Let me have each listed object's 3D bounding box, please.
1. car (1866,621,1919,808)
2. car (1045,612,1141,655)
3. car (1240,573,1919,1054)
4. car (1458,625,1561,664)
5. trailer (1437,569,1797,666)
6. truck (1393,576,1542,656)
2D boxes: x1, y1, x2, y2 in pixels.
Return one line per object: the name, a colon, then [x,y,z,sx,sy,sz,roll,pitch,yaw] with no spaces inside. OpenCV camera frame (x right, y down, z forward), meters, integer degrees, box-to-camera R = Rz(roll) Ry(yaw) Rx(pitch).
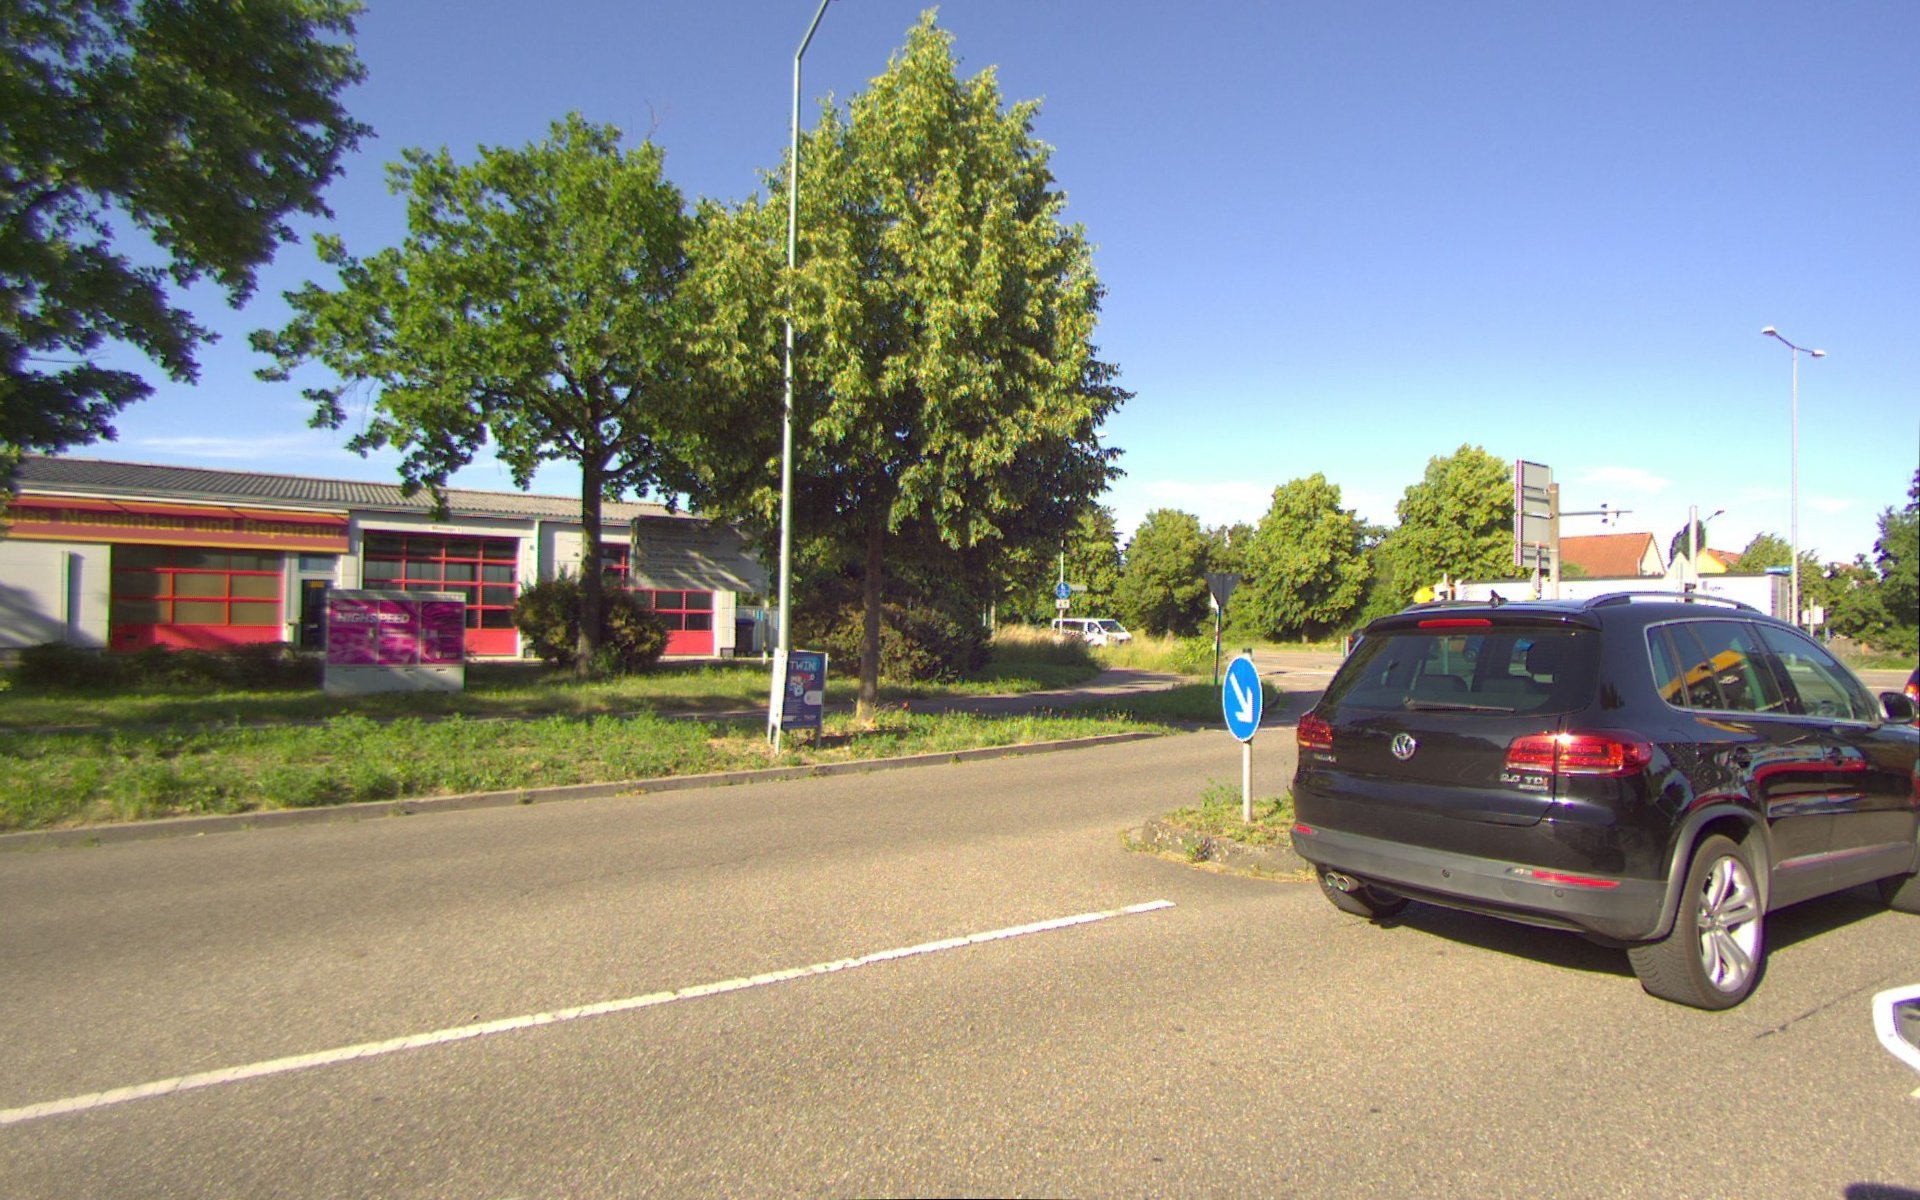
car: [10.228,1.005,9.212,3.954,1.610,1.753,1,-3,-31]
car: [7.178,1.781,54.914,2.160,2.146,5.350,2,-1,-35]
car: [3.550,0.821,5.311,3.954,1.675,1.763,1,-3,-31]
car: [23.754,1.899,43.494,1.733,1.581,3.559,2,-2,-35]
trailer: [31.246,0.835,49.131,3.407,4.066,14.560,1,-1,-35]
truck: [27.461,0.894,54.553,3.407,4.066,6.433,1,-1,-35]
